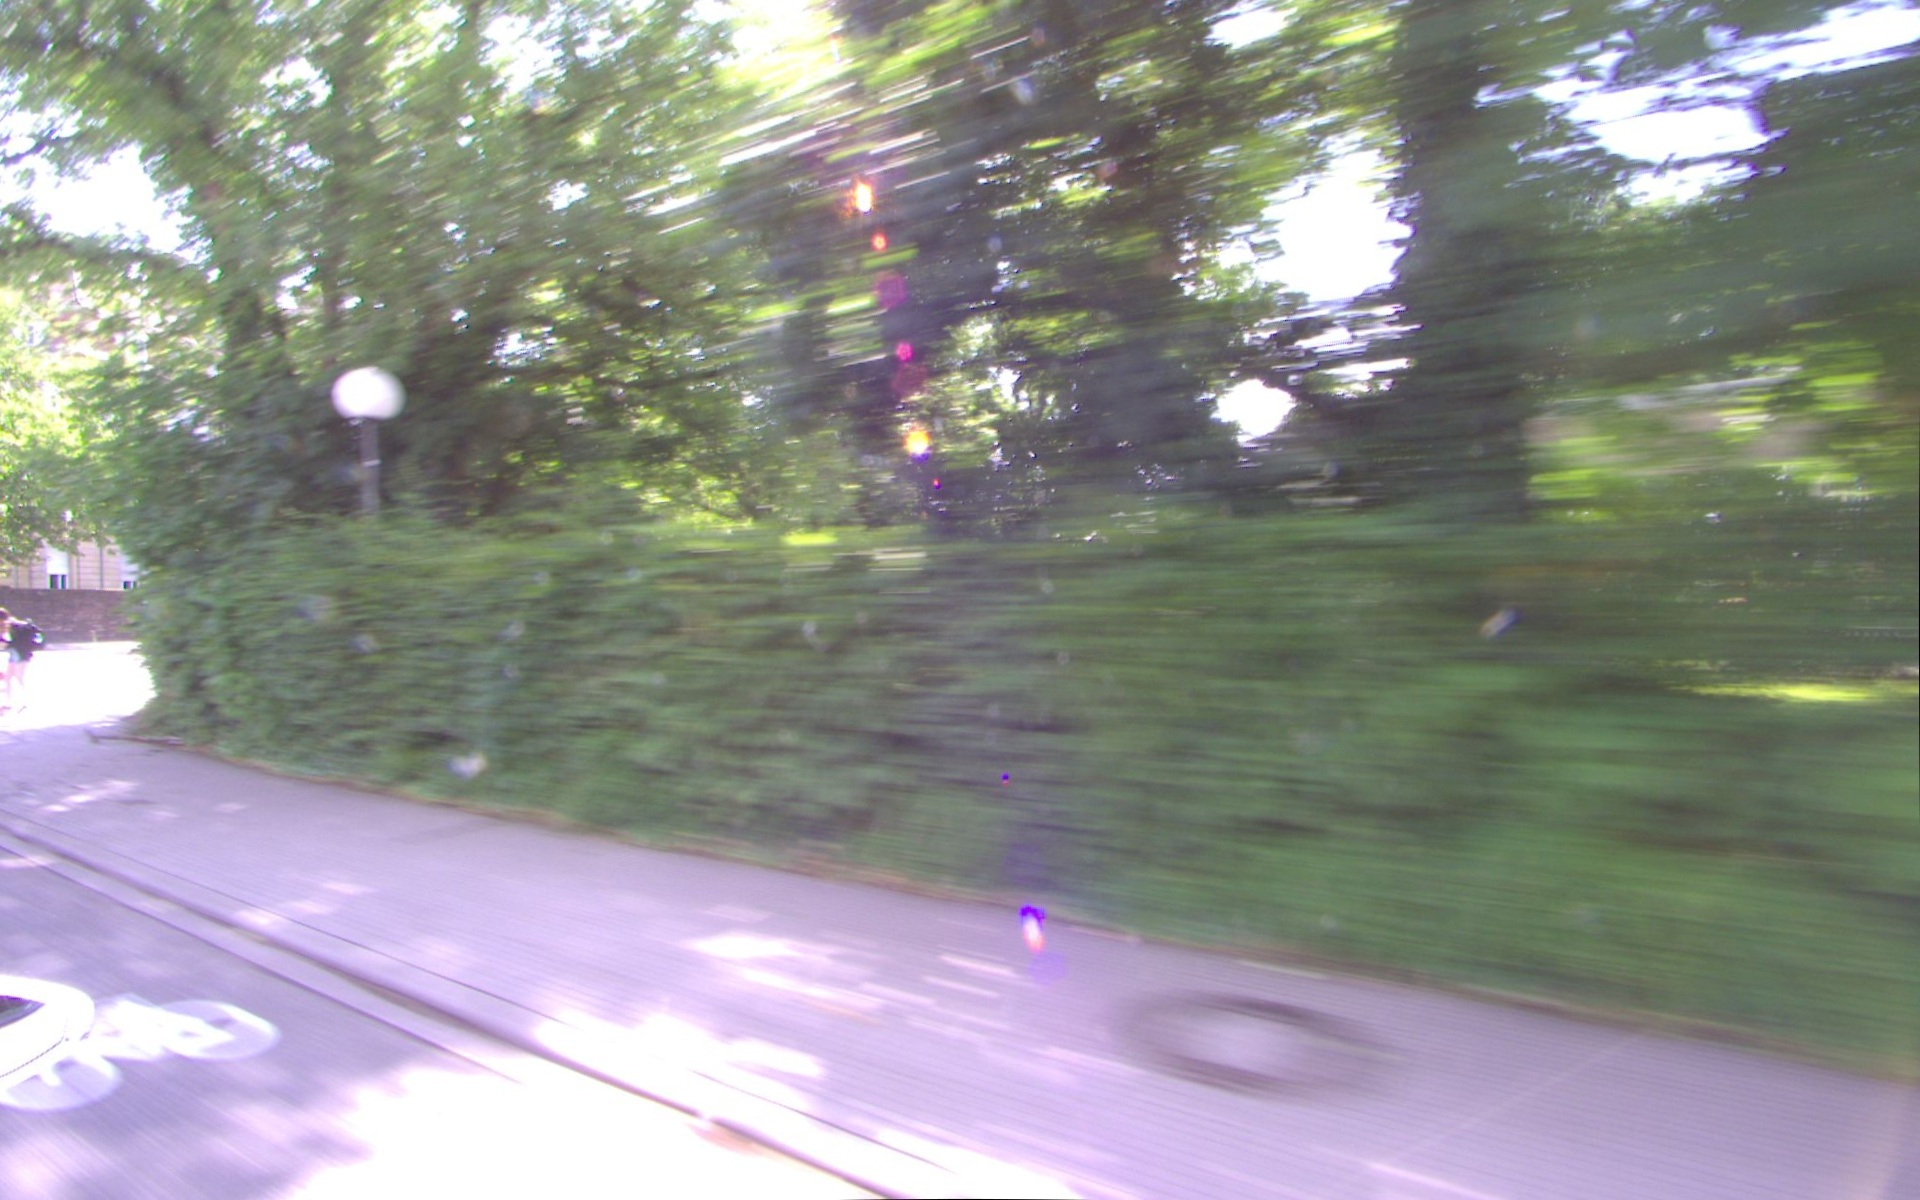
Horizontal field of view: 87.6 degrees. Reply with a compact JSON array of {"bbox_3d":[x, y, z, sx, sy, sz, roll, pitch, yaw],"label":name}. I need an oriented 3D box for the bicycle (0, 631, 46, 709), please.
[{"bbox_3d":[-14.932,1.089,15.416,0.583,1.142,1.738,-3,1,-20],"label":"bicycle"}]

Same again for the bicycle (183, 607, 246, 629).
[{"bbox_3d":[-36.012,0.850,48.401,0.686,1.007,2.377,0,0,31],"label":"bicycle"}]

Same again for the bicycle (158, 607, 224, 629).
[{"bbox_3d":[-36.510,0.830,47.577,0.743,1.007,2.377,0,0,31],"label":"bicycle"}]

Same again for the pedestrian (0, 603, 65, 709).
[{"bbox_3d":[-14.692,0.855,15.668,0.714,1.597,0.731,-3,2,-20],"label":"pedestrian"}]
